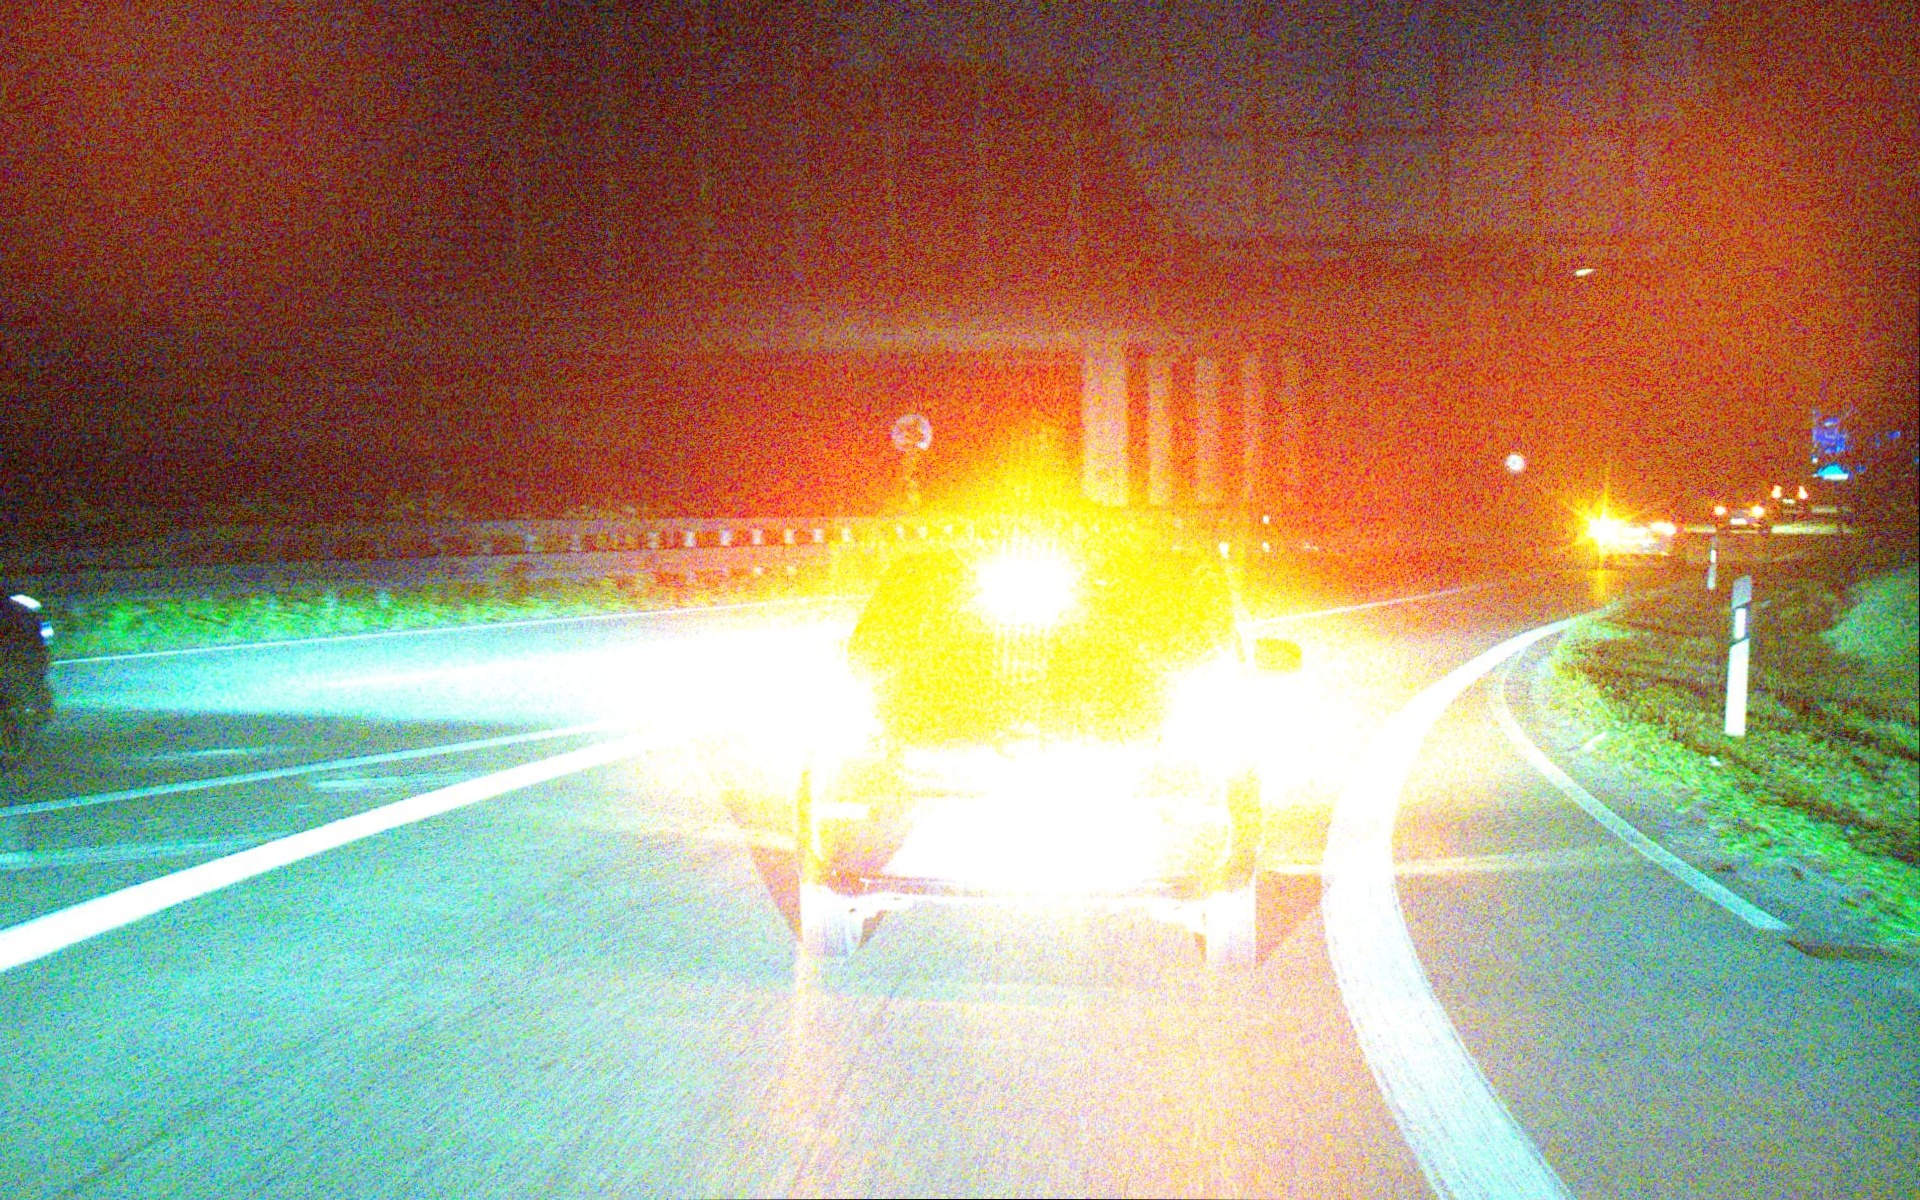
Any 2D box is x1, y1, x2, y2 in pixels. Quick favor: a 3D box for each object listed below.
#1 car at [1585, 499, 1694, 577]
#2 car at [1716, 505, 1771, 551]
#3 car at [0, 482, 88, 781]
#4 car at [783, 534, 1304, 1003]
[{"bbox_3d":[14.981,-1.345,75.609,1.952,1.533,4.238,-3,-1,16],"label":"car"},{"bbox_3d":[28.462,-2.639,124.799,1.735,1.612,3.796,1,2,16],"label":"car"},{"bbox_3d":[-6.522,0.164,17.365,1.942,1.603,4.640,2,2,17],"label":"car"},{"bbox_3d":[0.181,0.525,13.415,1.691,1.472,4.001,2,2,-3],"label":"car"}]
